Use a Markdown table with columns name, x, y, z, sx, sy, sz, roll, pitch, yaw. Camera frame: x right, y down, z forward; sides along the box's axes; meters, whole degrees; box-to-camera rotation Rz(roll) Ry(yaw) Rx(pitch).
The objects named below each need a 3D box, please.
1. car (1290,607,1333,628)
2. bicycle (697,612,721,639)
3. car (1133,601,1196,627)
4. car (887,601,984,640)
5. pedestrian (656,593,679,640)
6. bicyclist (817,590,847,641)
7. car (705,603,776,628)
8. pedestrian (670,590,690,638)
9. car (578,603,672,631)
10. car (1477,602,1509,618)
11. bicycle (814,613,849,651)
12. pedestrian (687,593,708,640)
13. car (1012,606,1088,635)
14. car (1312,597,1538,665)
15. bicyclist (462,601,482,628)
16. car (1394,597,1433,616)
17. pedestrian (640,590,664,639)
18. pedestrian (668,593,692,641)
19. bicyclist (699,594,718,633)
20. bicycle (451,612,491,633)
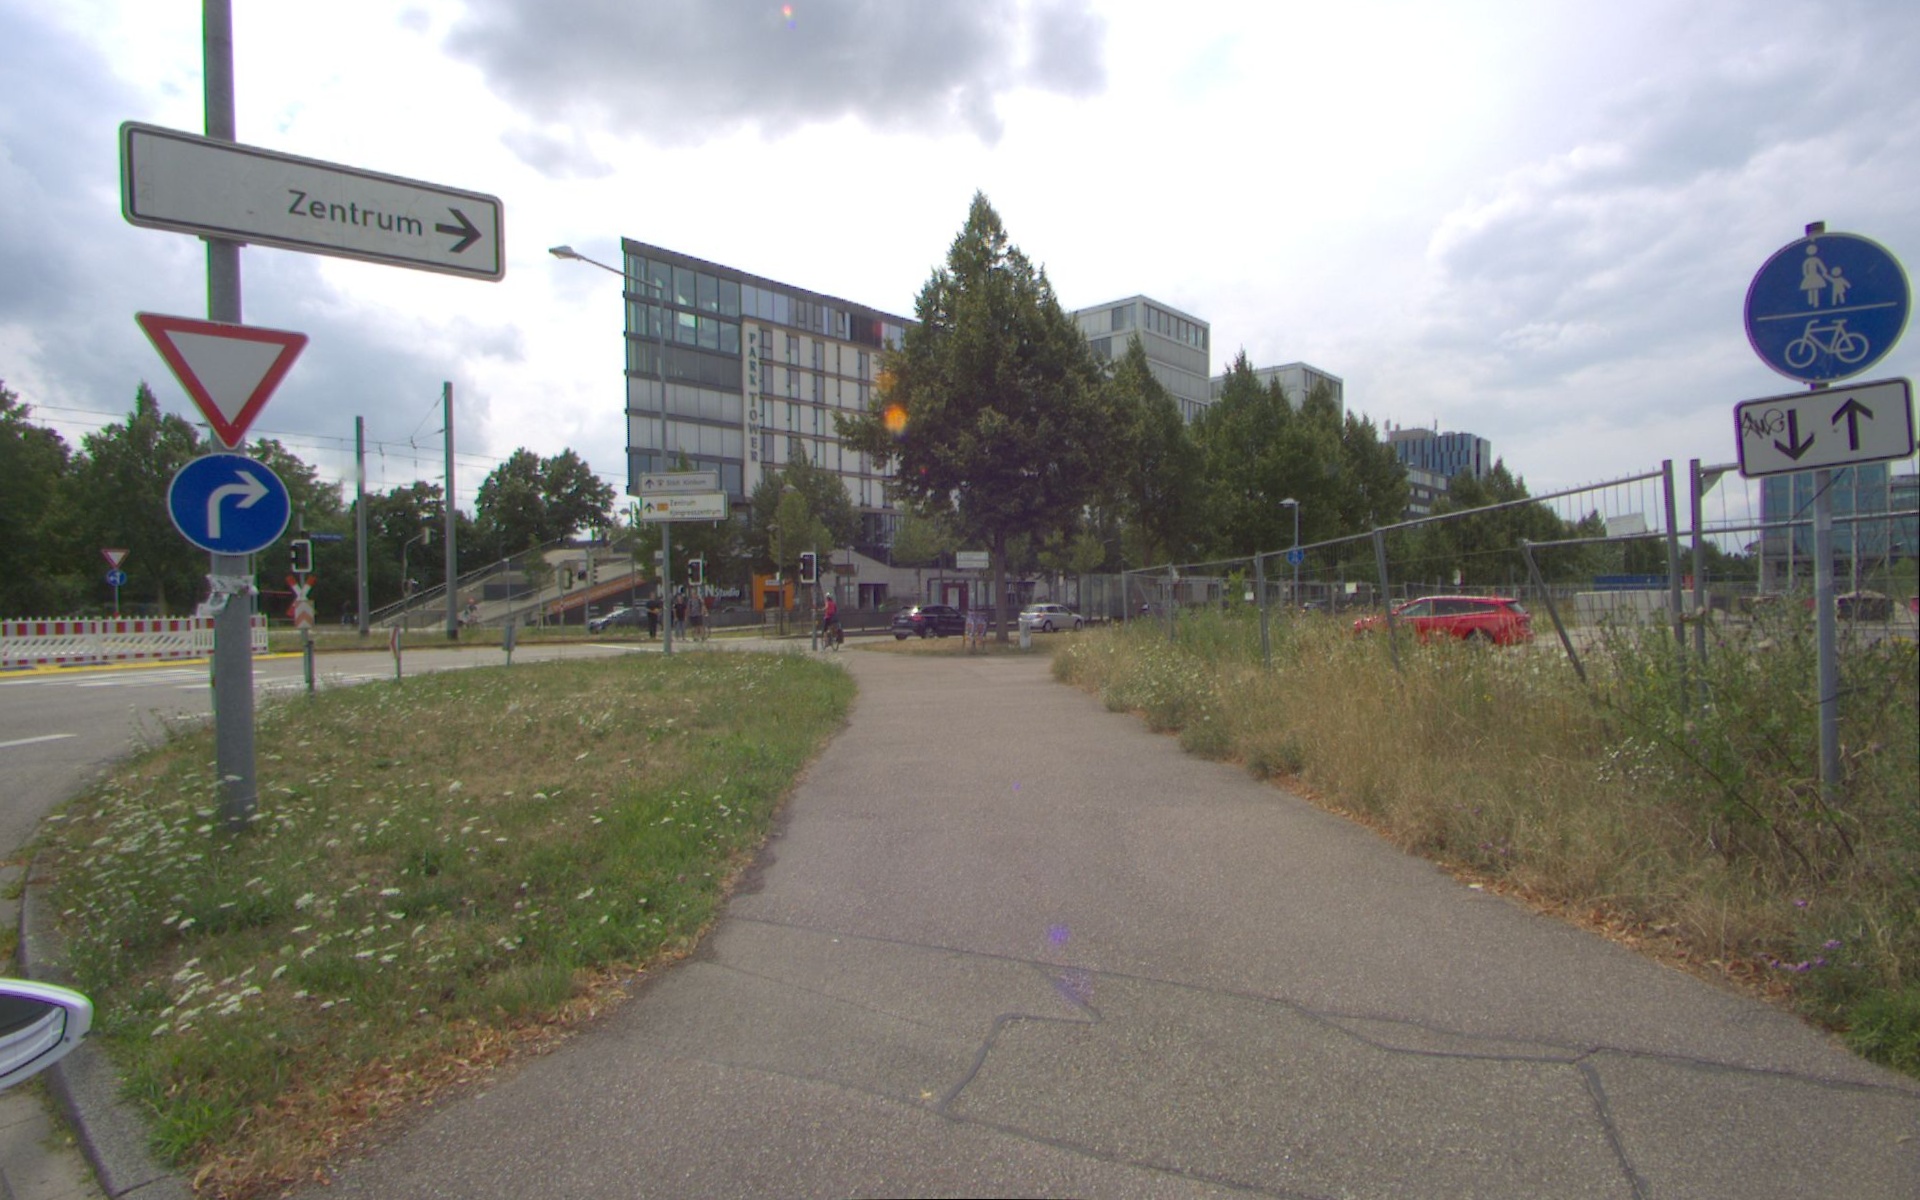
| name | x | y | z | sx | sy | sz | roll | pitch | yaw |
| --- | --- | --- | --- | --- | --- | --- | --- | --- | --- |
| car | 26.991 | 1.328 | 76.789 | 1.780 | 1.517 | 4.084 | 0 | 0 | 40 |
| bicycle | -10.292 | 1.017 | 41.035 | 0.541 | 1.072 | 1.704 | 0 | 0 | -29 |
| car | 12.472 | 0.843 | 61.065 | 1.714 | 1.554 | 4.331 | 0 | 0 | 44 |
| car | -0.975 | 0.828 | 41.817 | 1.722 | 1.539 | 4.110 | 0 | 0 | 43 |
| pedestrian | -11.277 | 0.628 | 38.590 | 0.546 | 1.805 | 0.629 | 1 | 1 | 37 |
| bicyclist | -4.240 | 0.501 | 33.134 | 0.778 | 1.649 | 1.046 | -1 | 1 | -19 |
| car | -13.594 | 0.964 | 62.051 | 1.829 | 1.477 | 3.963 | 1 | 0 | 44 |
| pedestrian | -10.957 | 0.549 | 39.188 | 0.546 | 1.887 | 0.527 | 1 | 1 | 37 |
| car | -18.596 | 0.924 | 55.756 | 1.829 | 1.477 | 4.696 | 1 | 0 | 43 |
| car | 56.211 | 1.019 | 105.544 | 1.977 | 1.639 | 4.714 | 0 | 0 | 41 |
| bicycle | -4.286 | 1.034 | 33.297 | 0.778 | 1.183 | 2.036 | -1 | 0 | -19 |
| pedestrian | -10.194 | 0.622 | 38.903 | 0.546 | 1.805 | 0.576 | 1 | 1 | 37 |
| car | 4.777 | 1.036 | 52.541 | 1.810 | 1.482 | 4.223 | 0 | 0 | 43 |
| car | 11.916 | 0.751 | 25.843 | 5.072 | 1.625 | 1.777 | 0 | 0 | 37 |
| bicyclist | -23.967 | 0.716 | 49.177 | 0.662 | 1.334 | 0.639 | 0 | 1 | 11 |
| car | 38.302 | 0.540 | 84.571 | 1.782 | 1.517 | 4.223 | 0 | 0 | 43 |
| pedestrian | -11.666 | 0.543 | 37.943 | 0.546 | 1.805 | 0.685 | 1 | 1 | 37 |
| pedestrian | -10.705 | 0.657 | 38.330 | 0.546 | 1.805 | 0.685 | 1 | 1 | 37 |
| bicyclist | -10.322 | 0.546 | 41.080 | 0.552 | 1.601 | 0.761 | 0 | 1 | -29 |
| bicycle | -24.023 | 1.087 | 49.195 | 1.723 | 1.020 | 0.653 | 0 | 0 | 11 |
